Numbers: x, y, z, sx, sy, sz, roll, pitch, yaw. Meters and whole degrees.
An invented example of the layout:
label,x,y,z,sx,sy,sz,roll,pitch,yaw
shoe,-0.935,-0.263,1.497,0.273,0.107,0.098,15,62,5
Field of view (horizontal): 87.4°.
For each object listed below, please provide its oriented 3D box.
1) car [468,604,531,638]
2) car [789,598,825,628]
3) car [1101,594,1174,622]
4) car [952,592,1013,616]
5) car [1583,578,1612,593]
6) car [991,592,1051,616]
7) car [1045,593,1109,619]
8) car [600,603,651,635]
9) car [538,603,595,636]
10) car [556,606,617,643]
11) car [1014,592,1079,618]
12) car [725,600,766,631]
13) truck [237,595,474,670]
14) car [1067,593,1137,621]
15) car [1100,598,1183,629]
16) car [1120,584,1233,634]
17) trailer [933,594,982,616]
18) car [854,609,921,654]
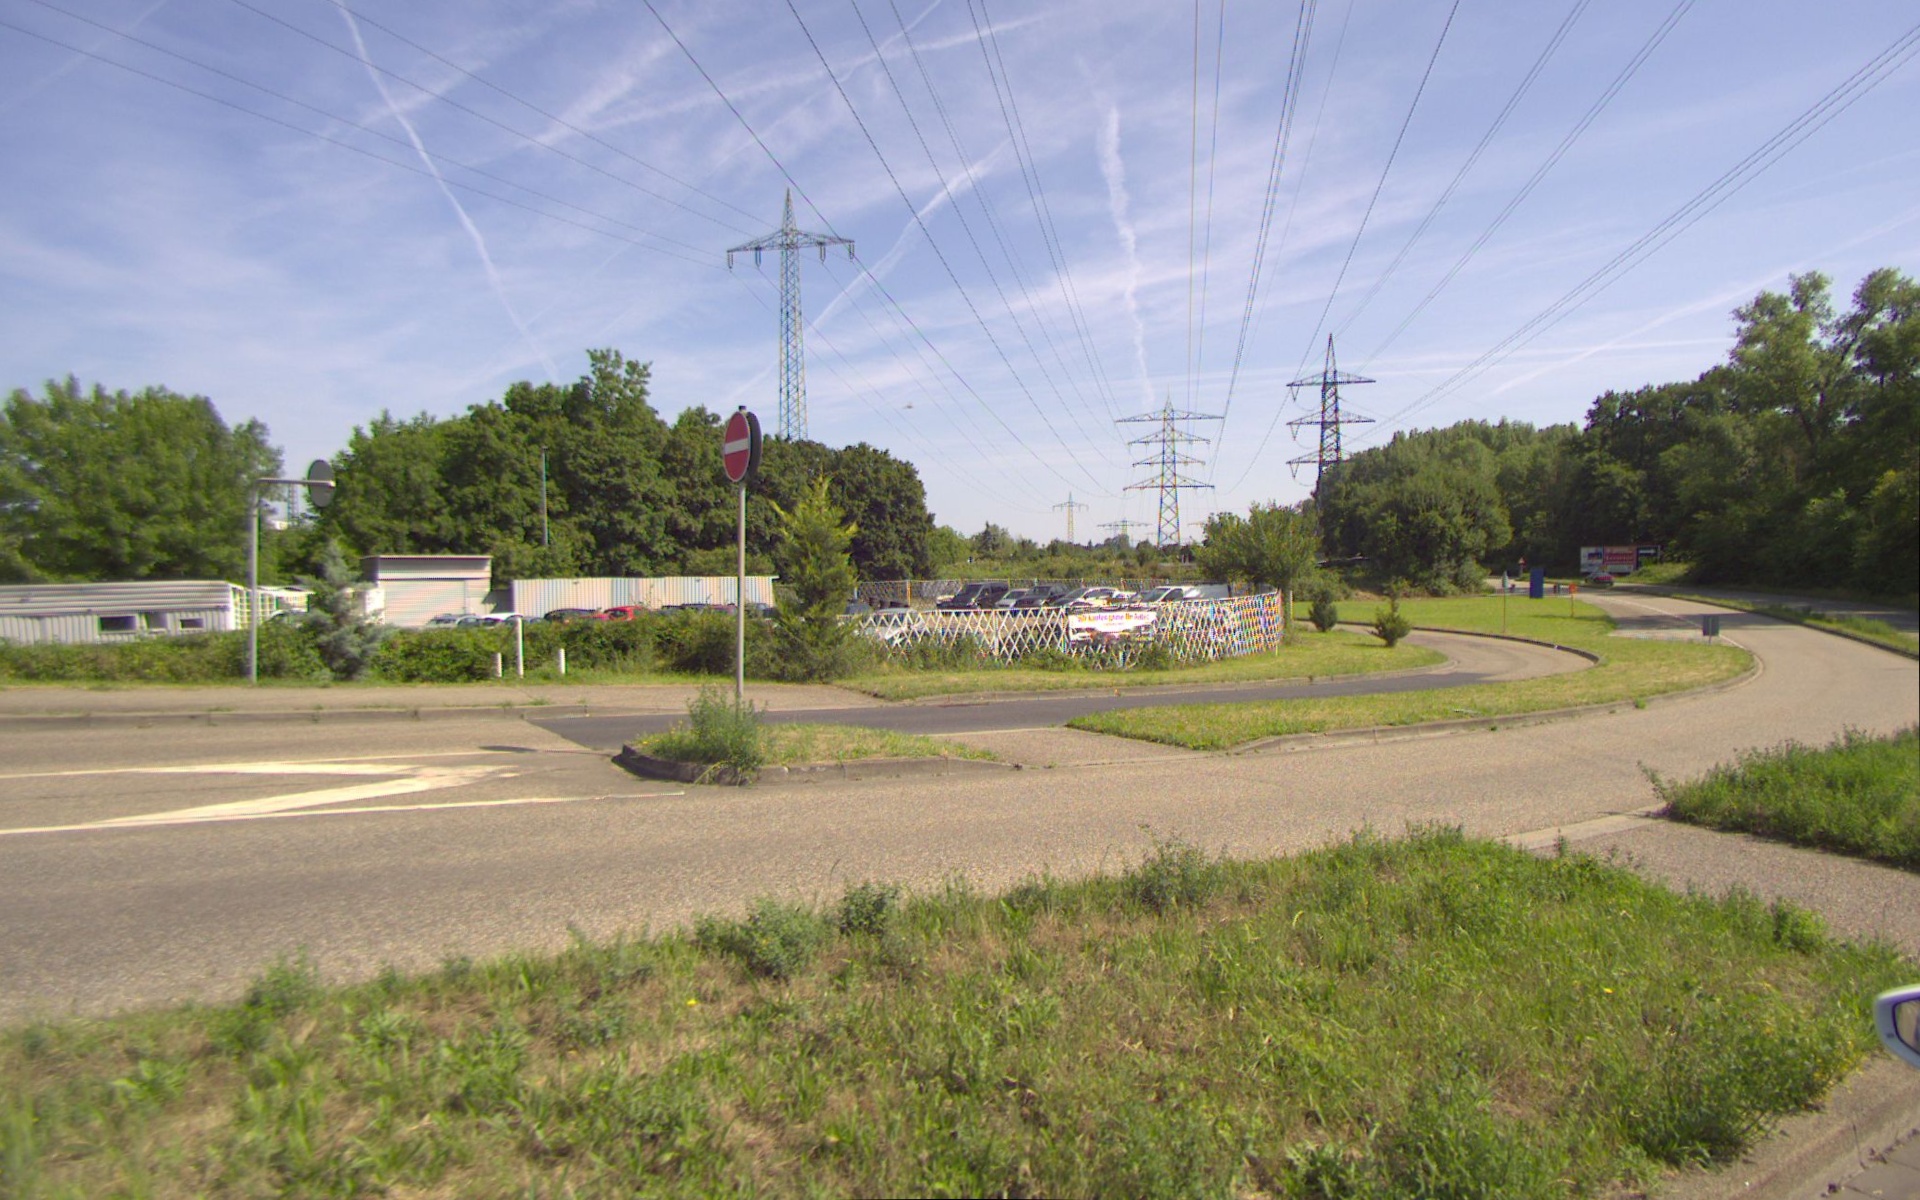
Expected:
label,x,y,z,sx,sy,sz,roll,pitch,yaw
car,-20.285,0.885,44.338,1.569,1.311,3.176,-1,2,-6
car,-7.437,0.629,48.927,1.569,1.311,3.176,-1,2,-6
car,9.161,0.389,51.778,3.598,1.311,1.586,-2,2,-30
car,1.372,0.211,60.262,3.614,1.311,1.578,-2,2,-43
car,71.451,-1.641,112.598,1.619,1.587,3.658,0,2,13
car,3.673,0.199,60.046,3.614,1.311,1.578,-2,2,-43
car,6.533,0.296,55.751,3.614,1.311,1.578,-2,2,-43
car,-15.313,0.833,46.141,1.569,1.311,3.176,-1,2,-6
car,-17.740,0.866,45.397,1.569,1.311,3.176,-1,2,-6
car,-15.219,0.978,41.037,1.569,1.311,3.176,-1,2,-6
car,4.981,0.262,57.396,3.608,1.311,1.581,-2,2,-38
car,-10.135,0.692,47.652,1.569,1.311,3.176,-1,2,-6
truck,-19.680,0.990,33.149,6.275,2.142,2.483,-1,2,-21
car,7.603,0.350,53.566,3.604,1.311,1.583,-2,2,-35
car,8.544,0.606,47.197,3.589,1.311,1.590,-1,2,-23
car,9.580,0.358,44.522,4.657,2.069,1.690,-1,2,-16
trailer,-0.162,0.294,62.486,2.850,1.275,1.497,-1,2,-10
car,-2.398,1.024,33.956,1.566,1.311,3.181,0,2,9
